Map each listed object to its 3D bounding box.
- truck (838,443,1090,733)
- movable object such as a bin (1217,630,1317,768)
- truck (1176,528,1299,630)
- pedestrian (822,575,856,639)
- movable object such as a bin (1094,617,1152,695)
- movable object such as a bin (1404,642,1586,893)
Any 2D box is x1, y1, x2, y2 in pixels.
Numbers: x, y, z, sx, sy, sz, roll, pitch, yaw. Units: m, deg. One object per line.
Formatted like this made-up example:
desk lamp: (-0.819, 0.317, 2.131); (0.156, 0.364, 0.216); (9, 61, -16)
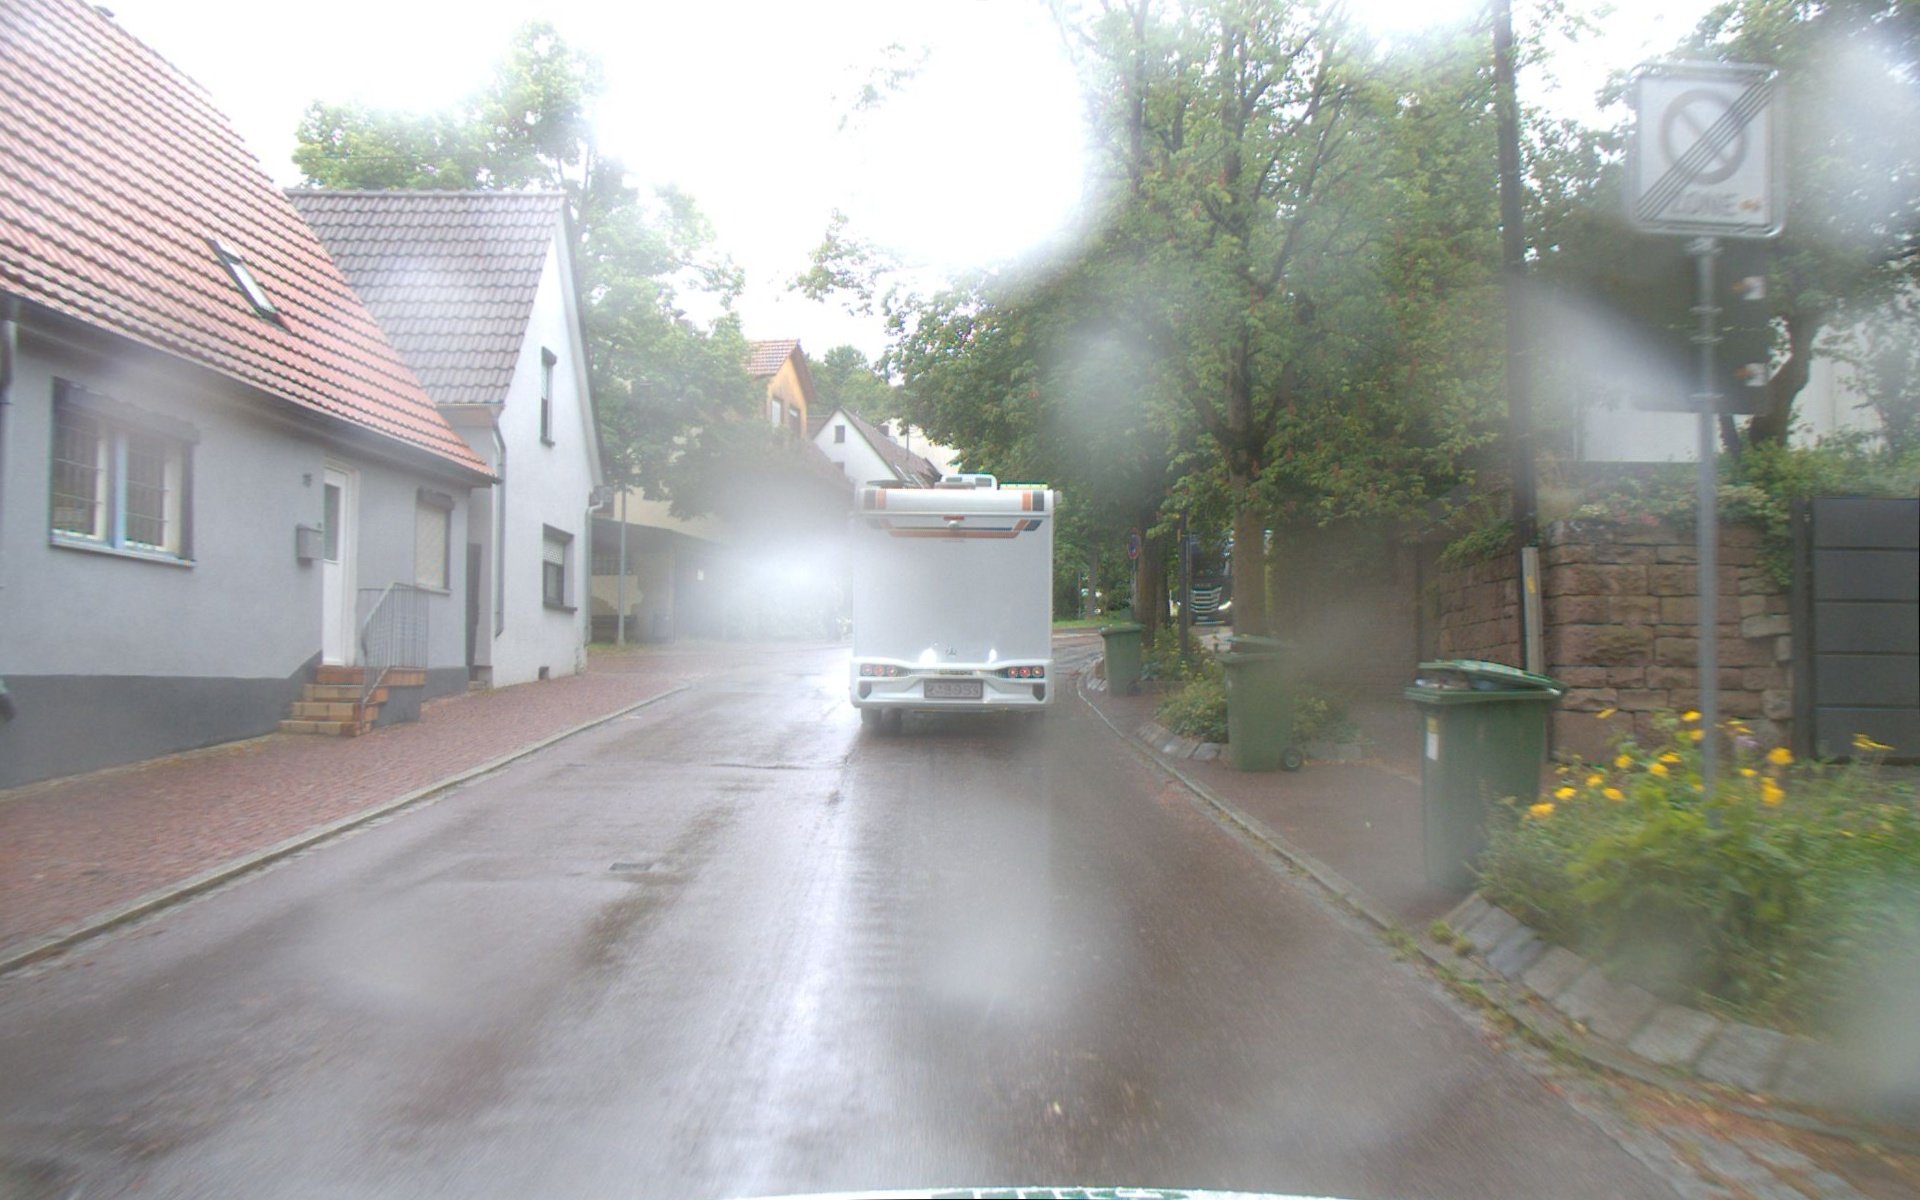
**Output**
truck: (-0.020, -0.133, 20.588); (2.640, 3.038, 6.235); (1, 0, -1)
movable object such as a bin: (2.676, 0.854, 14.480); (0.709, 1.163, 0.703); (1, 0, -4)
truck: (12.556, -0.895, 73.979); (2.782, 4.239, 9.968); (1, 0, 25)
pedestrian: (-3.643, 0.220, 49.773); (0.776, 1.901, 0.917); (0, -1, 12)
movable object such as a bin: (2.463, 0.837, 24.998); (0.753, 1.126, 0.884); (-1, 0, -1)
movable object such as a bin: (2.776, 0.847, 8.640); (0.706, 1.234, 0.727); (1, 0, -1)
